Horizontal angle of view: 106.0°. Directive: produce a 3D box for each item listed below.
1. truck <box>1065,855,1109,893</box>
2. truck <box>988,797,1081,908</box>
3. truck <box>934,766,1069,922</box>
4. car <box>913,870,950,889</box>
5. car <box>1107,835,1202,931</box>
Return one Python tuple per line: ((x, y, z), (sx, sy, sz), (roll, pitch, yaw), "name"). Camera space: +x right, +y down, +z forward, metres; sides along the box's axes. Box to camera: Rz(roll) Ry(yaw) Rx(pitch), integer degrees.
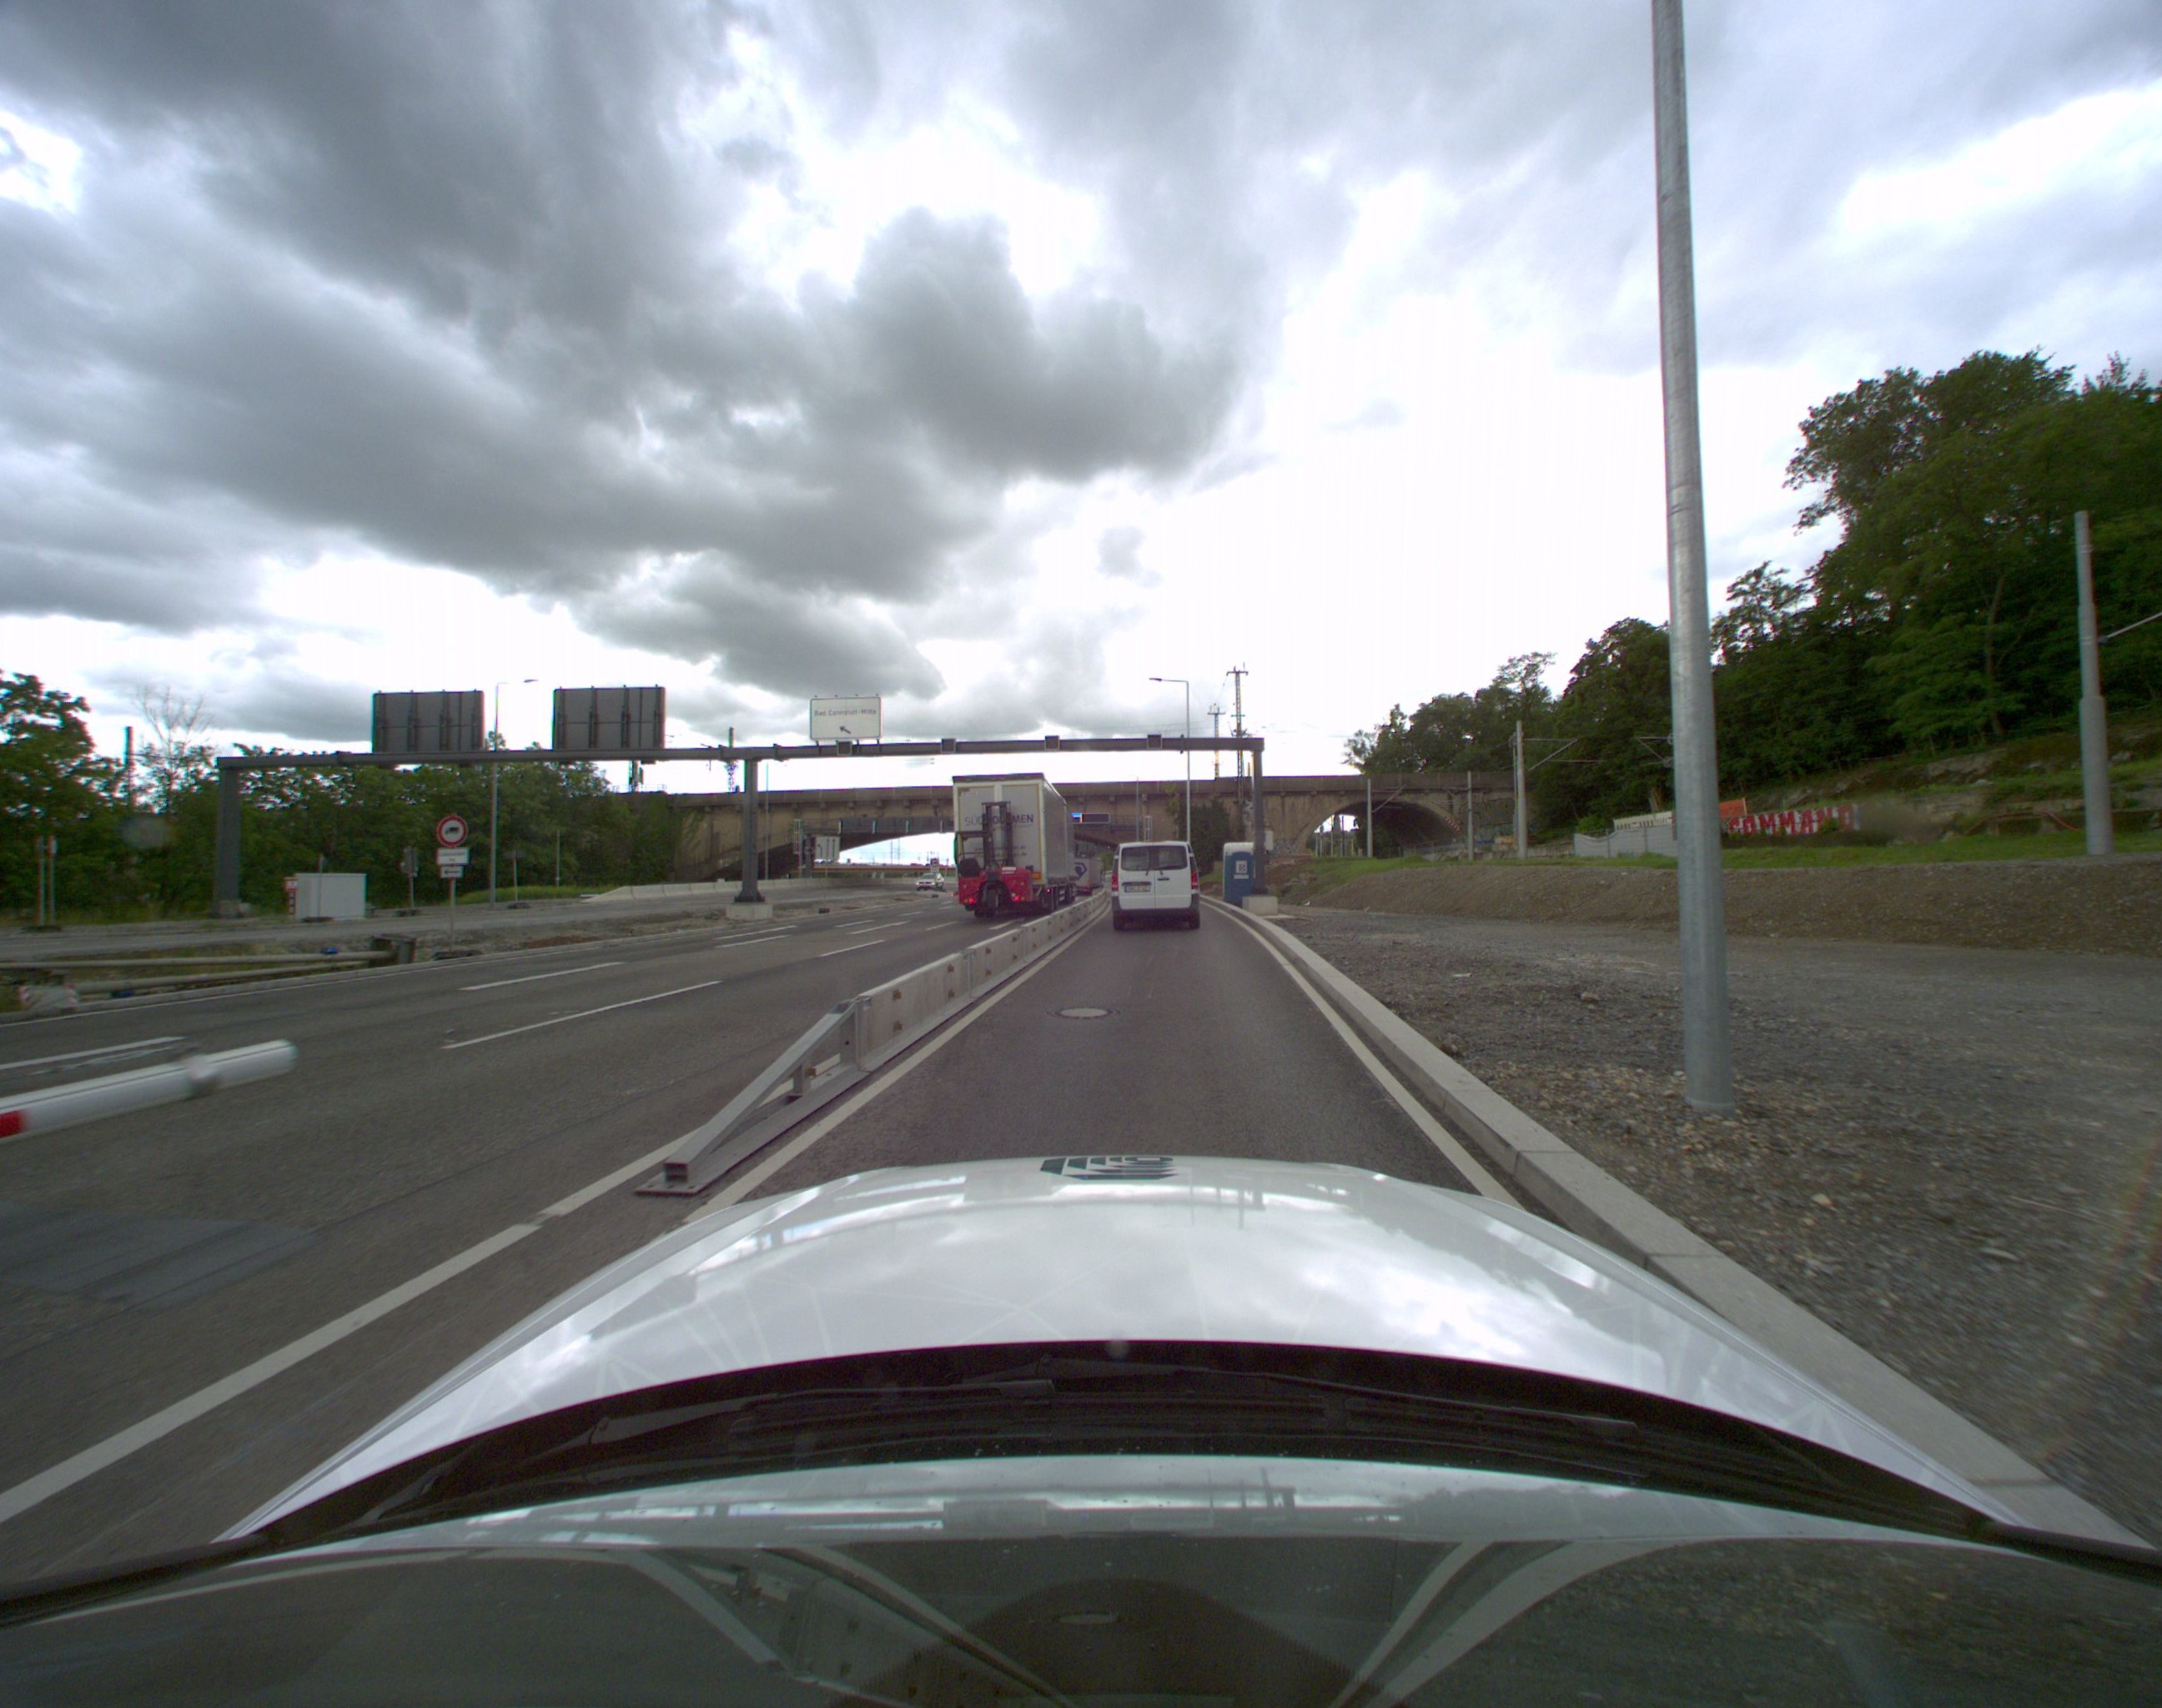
((0.913, 2.257, 91.885), (3.300, 3.810, 16.619), (1, -1, 6), "truck")
((-1.753, 0.156, 36.387), (2.976, 4.177, 11.244), (0, -2, 2), "truck")
((-2.128, -0.092, 26.237), (2.906, 4.018, 10.204), (0, -2, 2), "truck")
((-13.700, 2.301, 74.736), (1.788, 1.662, 4.301), (-1, -1, 12), "car")
((1.791, 0.634, 18.962), (1.866, 1.891, 4.762), (-2, -1, 7), "car")
